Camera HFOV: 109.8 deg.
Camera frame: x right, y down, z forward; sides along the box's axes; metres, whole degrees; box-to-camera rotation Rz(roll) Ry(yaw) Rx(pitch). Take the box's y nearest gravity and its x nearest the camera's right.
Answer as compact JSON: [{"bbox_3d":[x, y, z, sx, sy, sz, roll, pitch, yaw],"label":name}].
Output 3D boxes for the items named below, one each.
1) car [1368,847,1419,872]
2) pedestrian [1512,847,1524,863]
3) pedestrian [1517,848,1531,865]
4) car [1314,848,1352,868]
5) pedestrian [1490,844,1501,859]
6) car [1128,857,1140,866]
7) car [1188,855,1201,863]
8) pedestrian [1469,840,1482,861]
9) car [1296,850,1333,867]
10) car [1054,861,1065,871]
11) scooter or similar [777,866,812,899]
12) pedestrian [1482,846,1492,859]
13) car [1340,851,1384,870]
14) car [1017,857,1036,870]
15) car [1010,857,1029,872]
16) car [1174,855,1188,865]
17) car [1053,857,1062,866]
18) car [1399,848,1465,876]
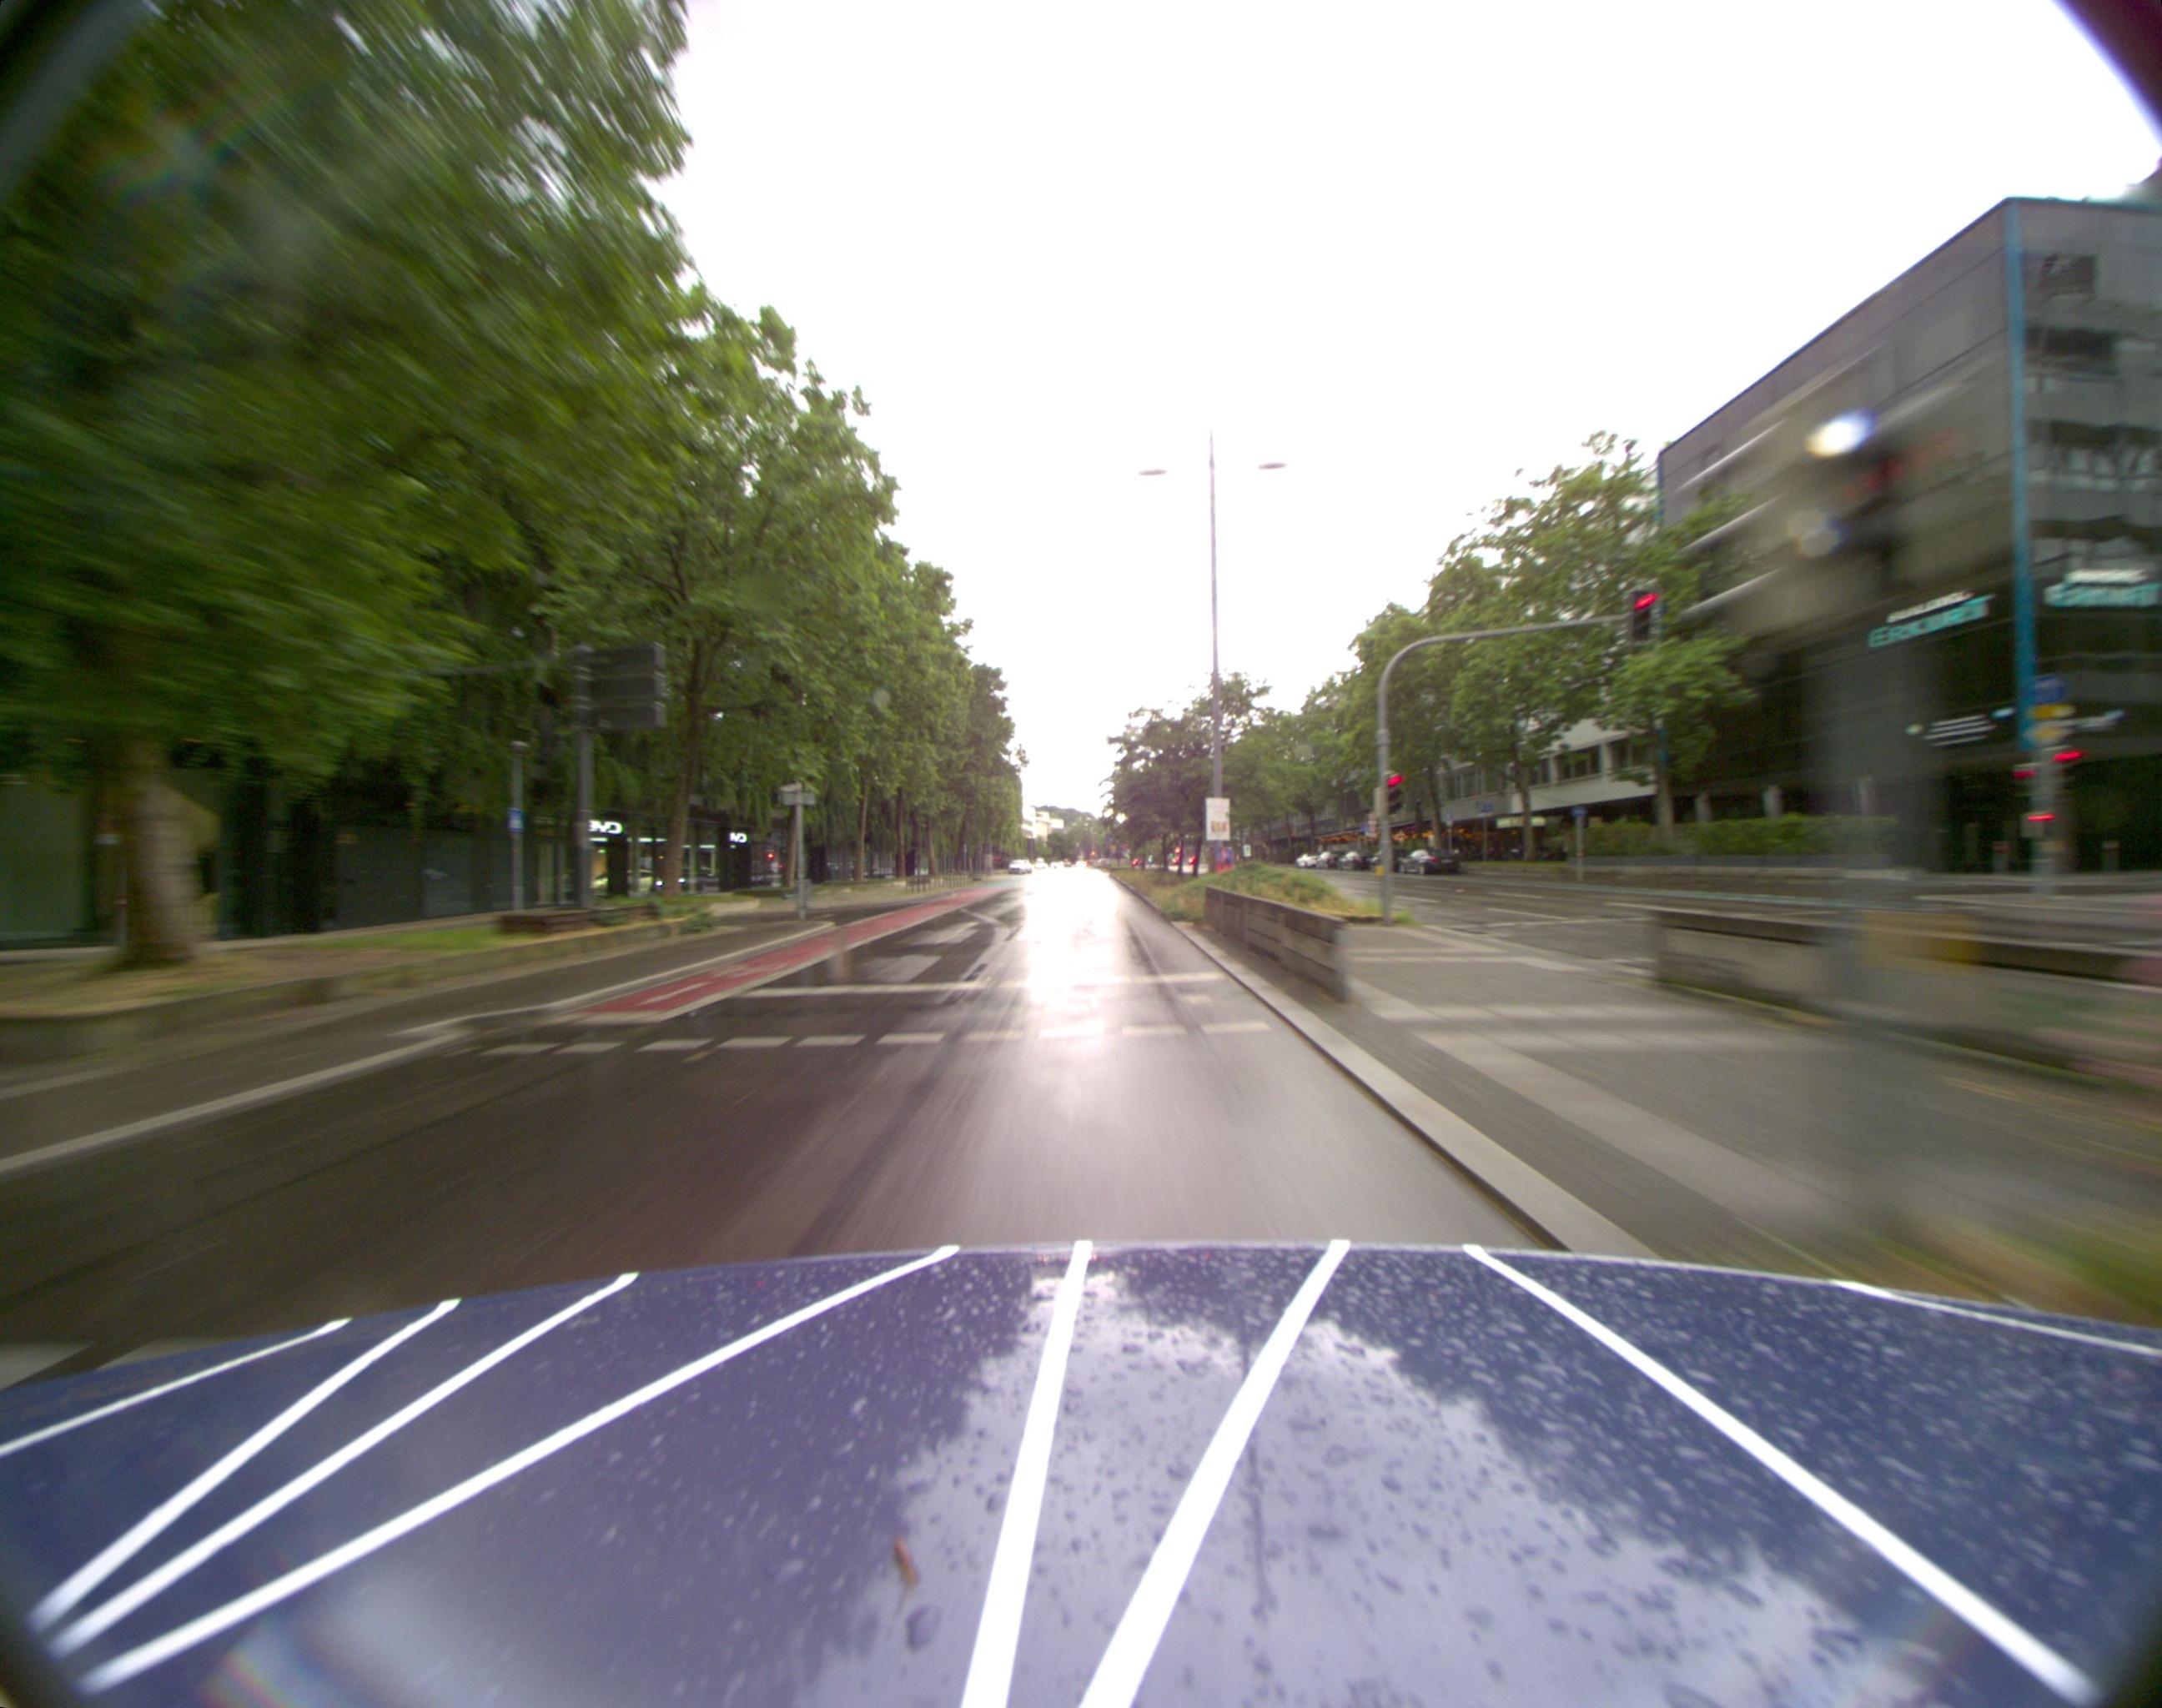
[{"bbox_3d":[19.937,0.319,48.627,1.875,1.414,3.400,-3,1,1],"label":"car"},{"bbox_3d":[27.544,0.084,47.908,0.459,0.987,0.463,-3,1,-15],"label":"pedestrian"},{"bbox_3d":[27.596,0.158,47.342,0.486,0.995,0.490,-3,1,-15],"label":"pedestrian"},{"bbox_3d":[20.131,0.326,60.885,1.750,1.445,3.788,-3,1,1],"label":"car"},{"bbox_3d":[27.634,-0.173,50.698,0.464,1.010,0.424,-3,1,-2],"label":"pedestrian"},{"bbox_3d":[9.856,1.393,141.415,1.678,1.381,3.527,-3,1,-3],"label":"car"},{"bbox_3d":[21.072,0.900,141.245,1.765,1.318,3.738,-3,1,1],"label":"car"},{"bbox_3d":[30.594,-0.268,58.936,0.606,1.638,0.623,-3,1,-4],"label":"pedestrian"},{"bbox_3d":[20.341,0.361,66.386,1.881,1.318,4.392,-3,1,1],"label":"car"},{"bbox_3d":[-3.512,1.926,124.535,1.780,1.546,3.929,-3,1,0],"label":"car"},{"bbox_3d":[-11.885,1.182,31.492,1.187,1.275,0.535,-3,1,-40],"label":"scooter or similar"},{"bbox_3d":[27.820,-0.124,52.068,0.440,0.845,0.433,-3,1,-2],"label":"pedestrian"},{"bbox_3d":[20.130,0.444,54.529,1.647,1.232,4.318,-3,1,2],"label":"car"},{"bbox_3d":[-7.095,1.236,99.351,2.036,1.552,4.584,-3,1,1],"label":"car"},{"bbox_3d":[-7.493,1.260,93.153,1.932,1.726,4.598,-3,1,-1],"label":"car"},{"bbox_3d":[17.926,1.087,136.513,1.781,1.565,3.728,-3,1,-1],"label":"car"},{"bbox_3d":[-4.633,1.455,149.030,1.557,1.534,3.663,-3,1,0],"label":"car"},{"bbox_3d":[19.903,0.412,43.307,1.875,1.377,4.537,-3,1,4],"label":"car"}]
